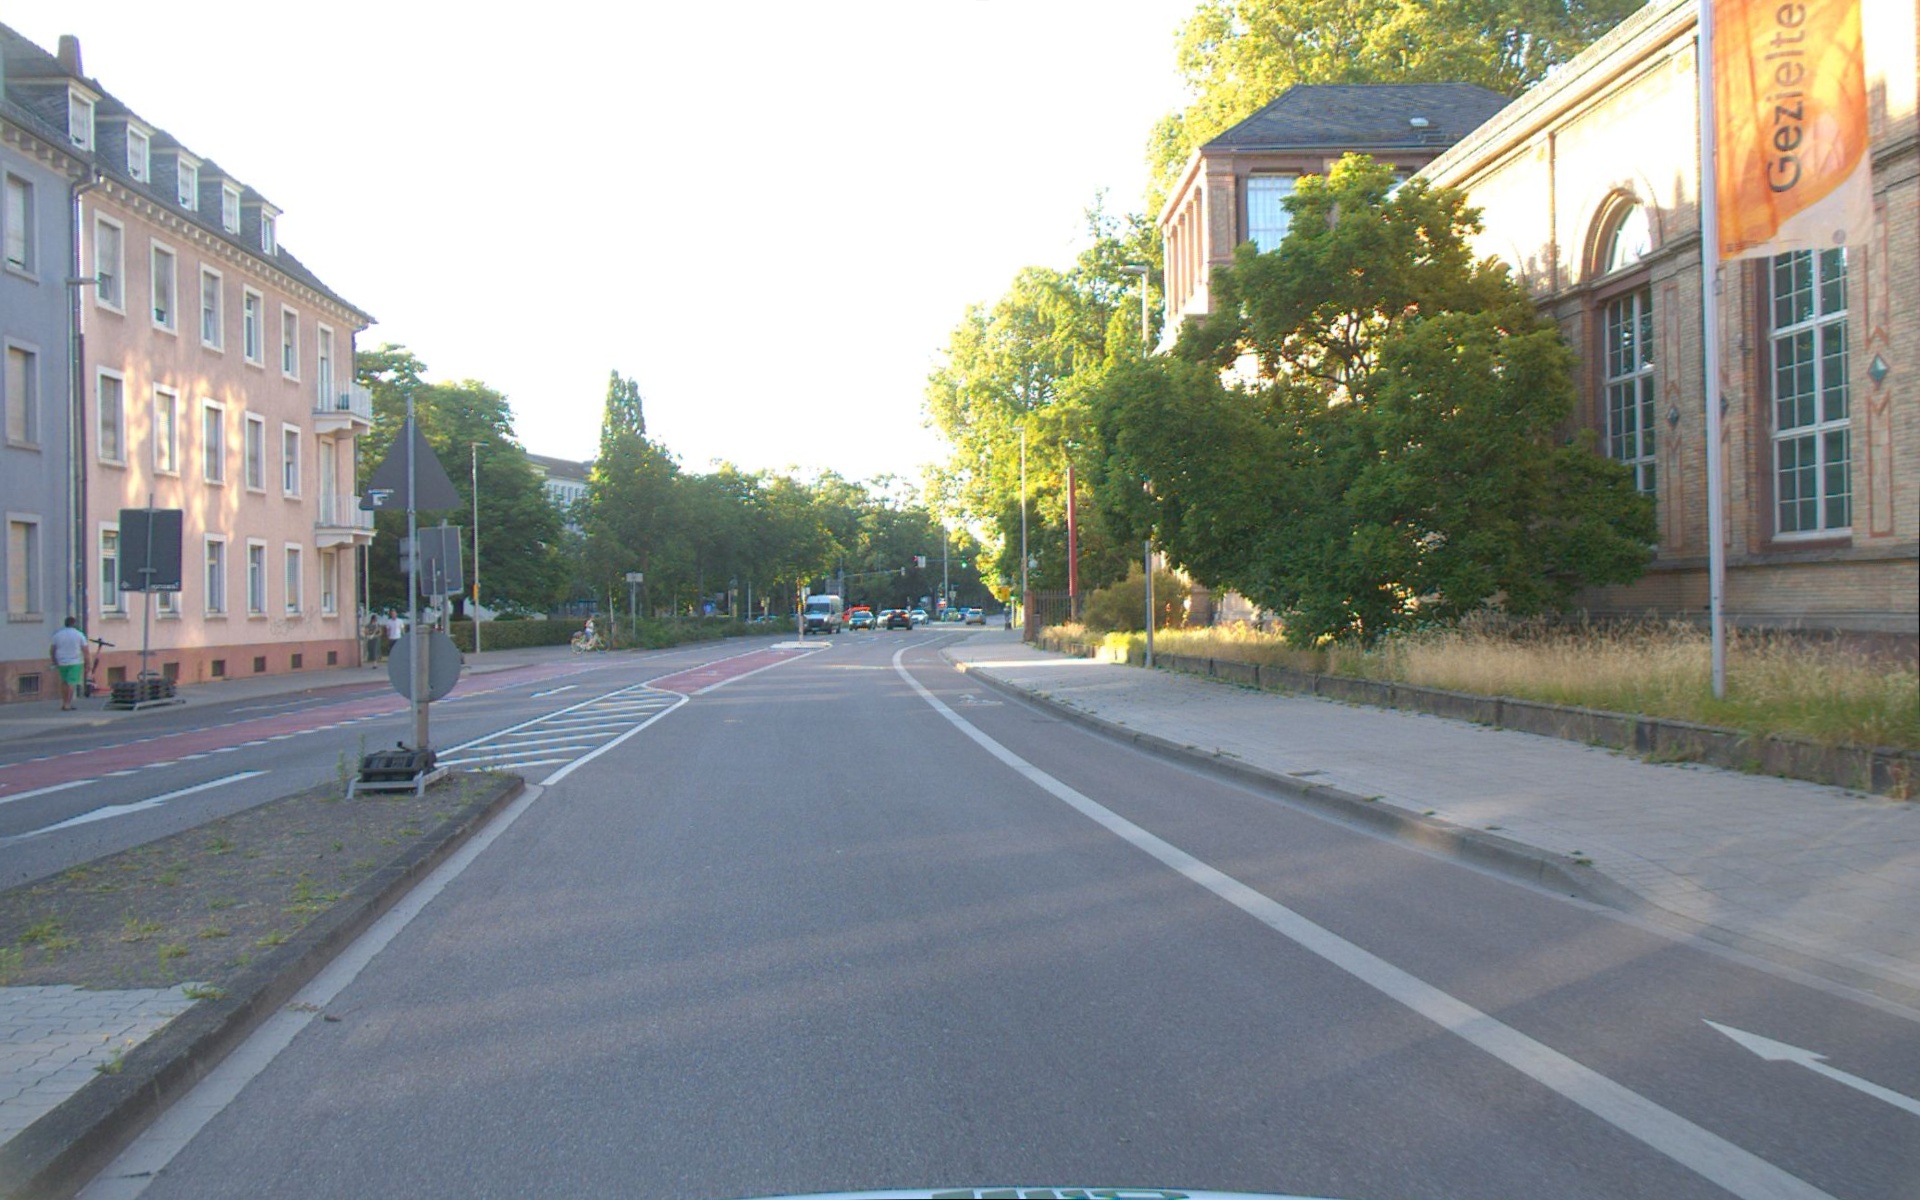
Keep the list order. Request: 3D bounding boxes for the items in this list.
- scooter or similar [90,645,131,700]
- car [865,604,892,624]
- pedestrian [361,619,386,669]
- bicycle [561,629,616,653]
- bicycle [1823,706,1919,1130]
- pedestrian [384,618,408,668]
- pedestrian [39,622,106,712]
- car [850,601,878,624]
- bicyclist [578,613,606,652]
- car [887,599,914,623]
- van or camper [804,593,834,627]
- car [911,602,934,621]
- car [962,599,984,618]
[{"bbox_3d":[-18.273,1.550,35.570,0.387,1.148,0.862,-2,0,2],"label":"scooter or similar"},{"bbox_3d":[-7.257,1.223,146.841,1.952,1.750,4.001,-2,0,3],"label":"car"},{"bbox_3d":[-18.888,1.410,53.271,0.604,1.561,0.689,-2,0,-10],"label":"pedestrian"},{"bbox_3d":[-15.550,1.712,69.250,2.176,0.945,0.761,-2,0,-42],"label":"bicycle"},{"bbox_3d":[3.146,0.916,4.150,0.698,1.176,2.065,0,0,-7],"label":"bicycle"},{"bbox_3d":[-18.195,1.385,53.372,0.604,1.602,0.722,-2,0,-10],"label":"pedestrian"},{"bbox_3d":[-17.019,1.297,31.728,0.857,1.682,0.809,-1,-3,-3],"label":"pedestrian"},{"bbox_3d":[-7.748,0.978,133.796,1.952,1.750,4.001,-2,0,1],"label":"car"},{"bbox_3d":[-15.451,1.363,69.352,0.865,1.624,0.742,-1,0,-42],"label":"bicyclist"},{"bbox_3d":[-4.600,0.861,129.073,1.953,1.750,3.999,-2,0,-1],"label":"car"},{"bbox_3d":[-9.626,0.704,113.097,1.792,2.233,4.419,-2,0,-2],"label":"van or camper"},{"bbox_3d":[-3.791,1.150,166.188,1.952,1.750,4.002,-2,0,4],"label":"car"},{"bbox_3d":[1.255,0.808,156.289,1.952,1.750,4.001,-2,0,2],"label":"car"}]
